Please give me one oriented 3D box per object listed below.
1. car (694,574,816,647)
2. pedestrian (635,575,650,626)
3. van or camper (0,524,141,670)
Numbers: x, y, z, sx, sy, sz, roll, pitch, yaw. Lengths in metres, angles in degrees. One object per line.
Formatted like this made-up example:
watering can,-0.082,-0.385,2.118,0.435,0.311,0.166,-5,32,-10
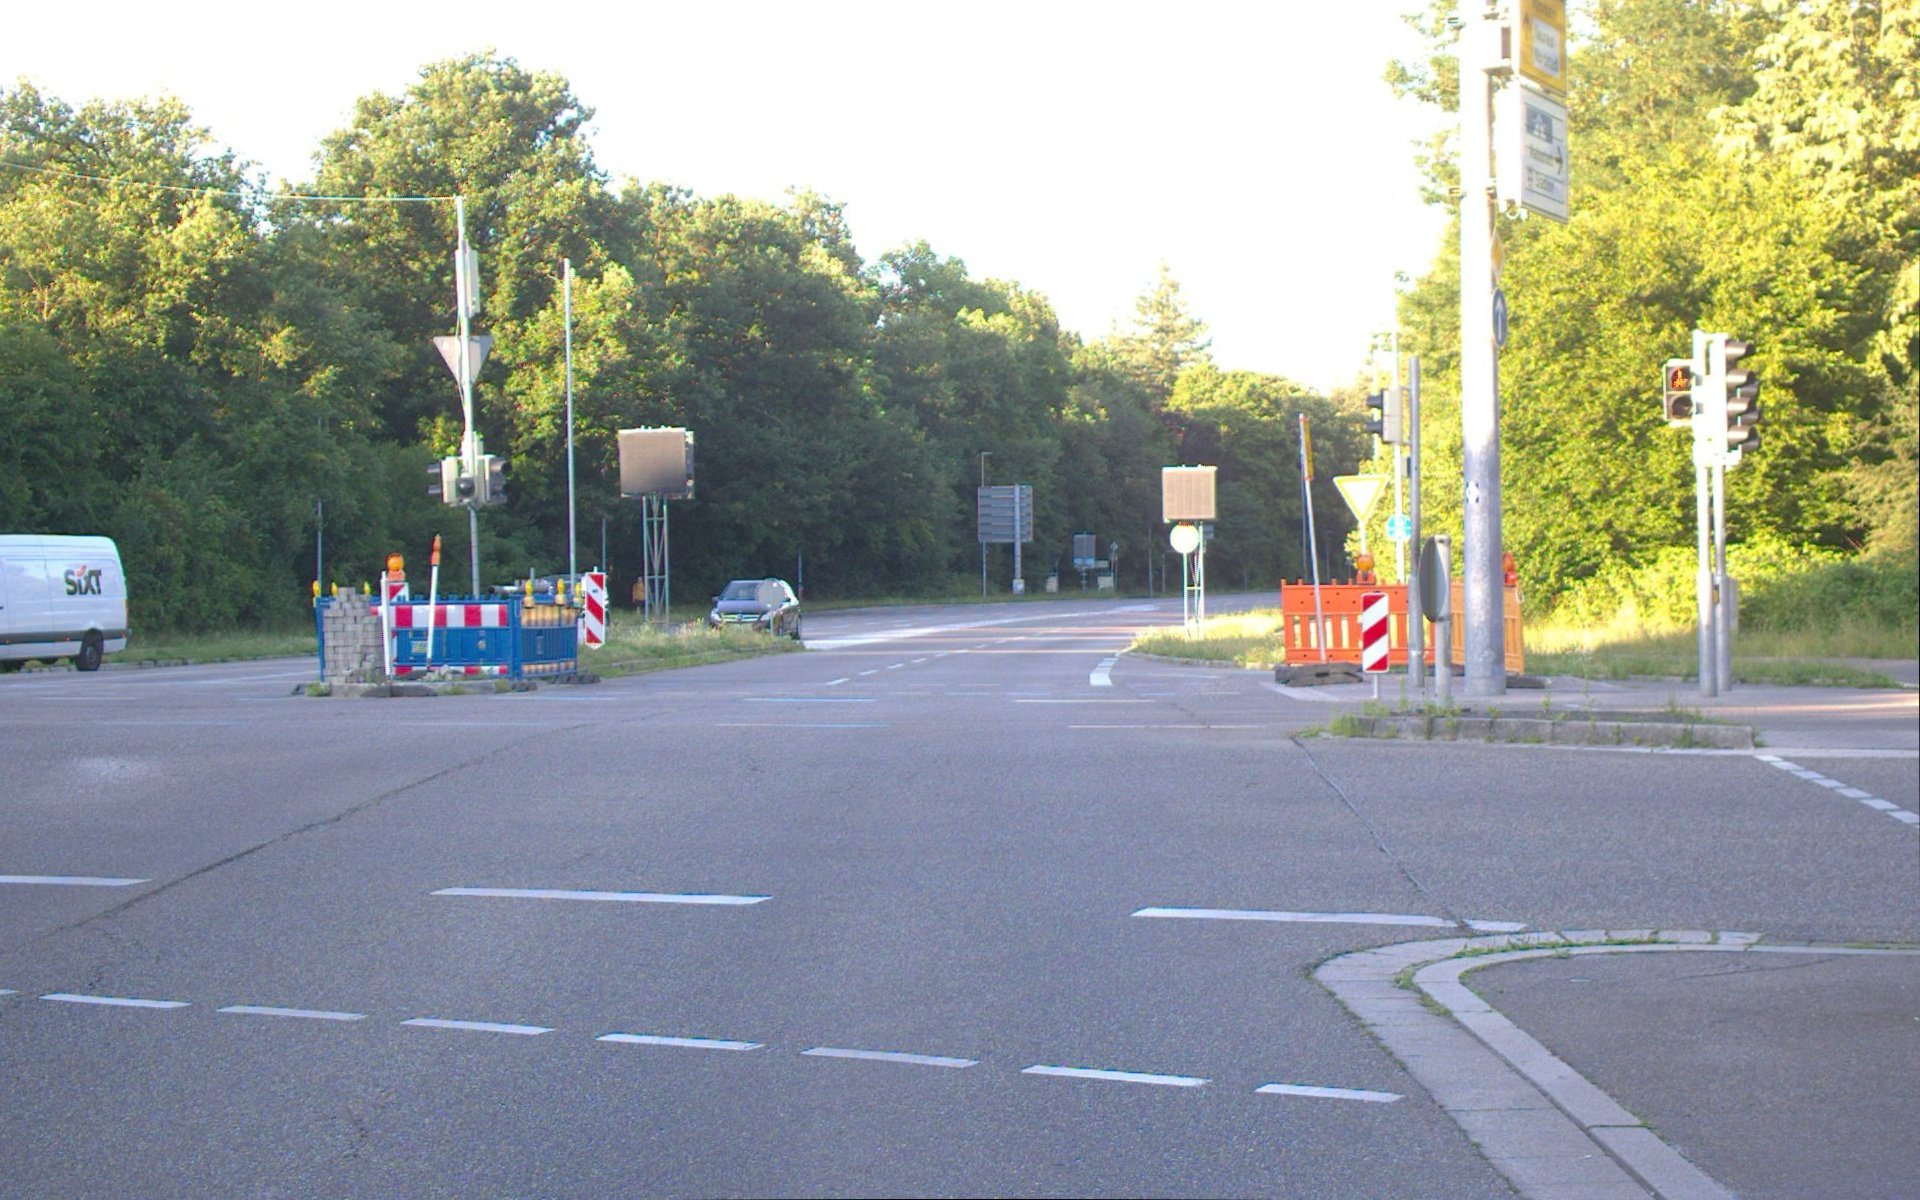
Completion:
car,-5.094,0.248,85.942,1.994,1.634,3.998,-2,2,12
pedestrian,-12.467,0.023,134.941,0.521,2.007,0.600,1,0,-1
van or camper,-18.422,-0.065,64.075,2.887,2.643,7.116,0,1,17
